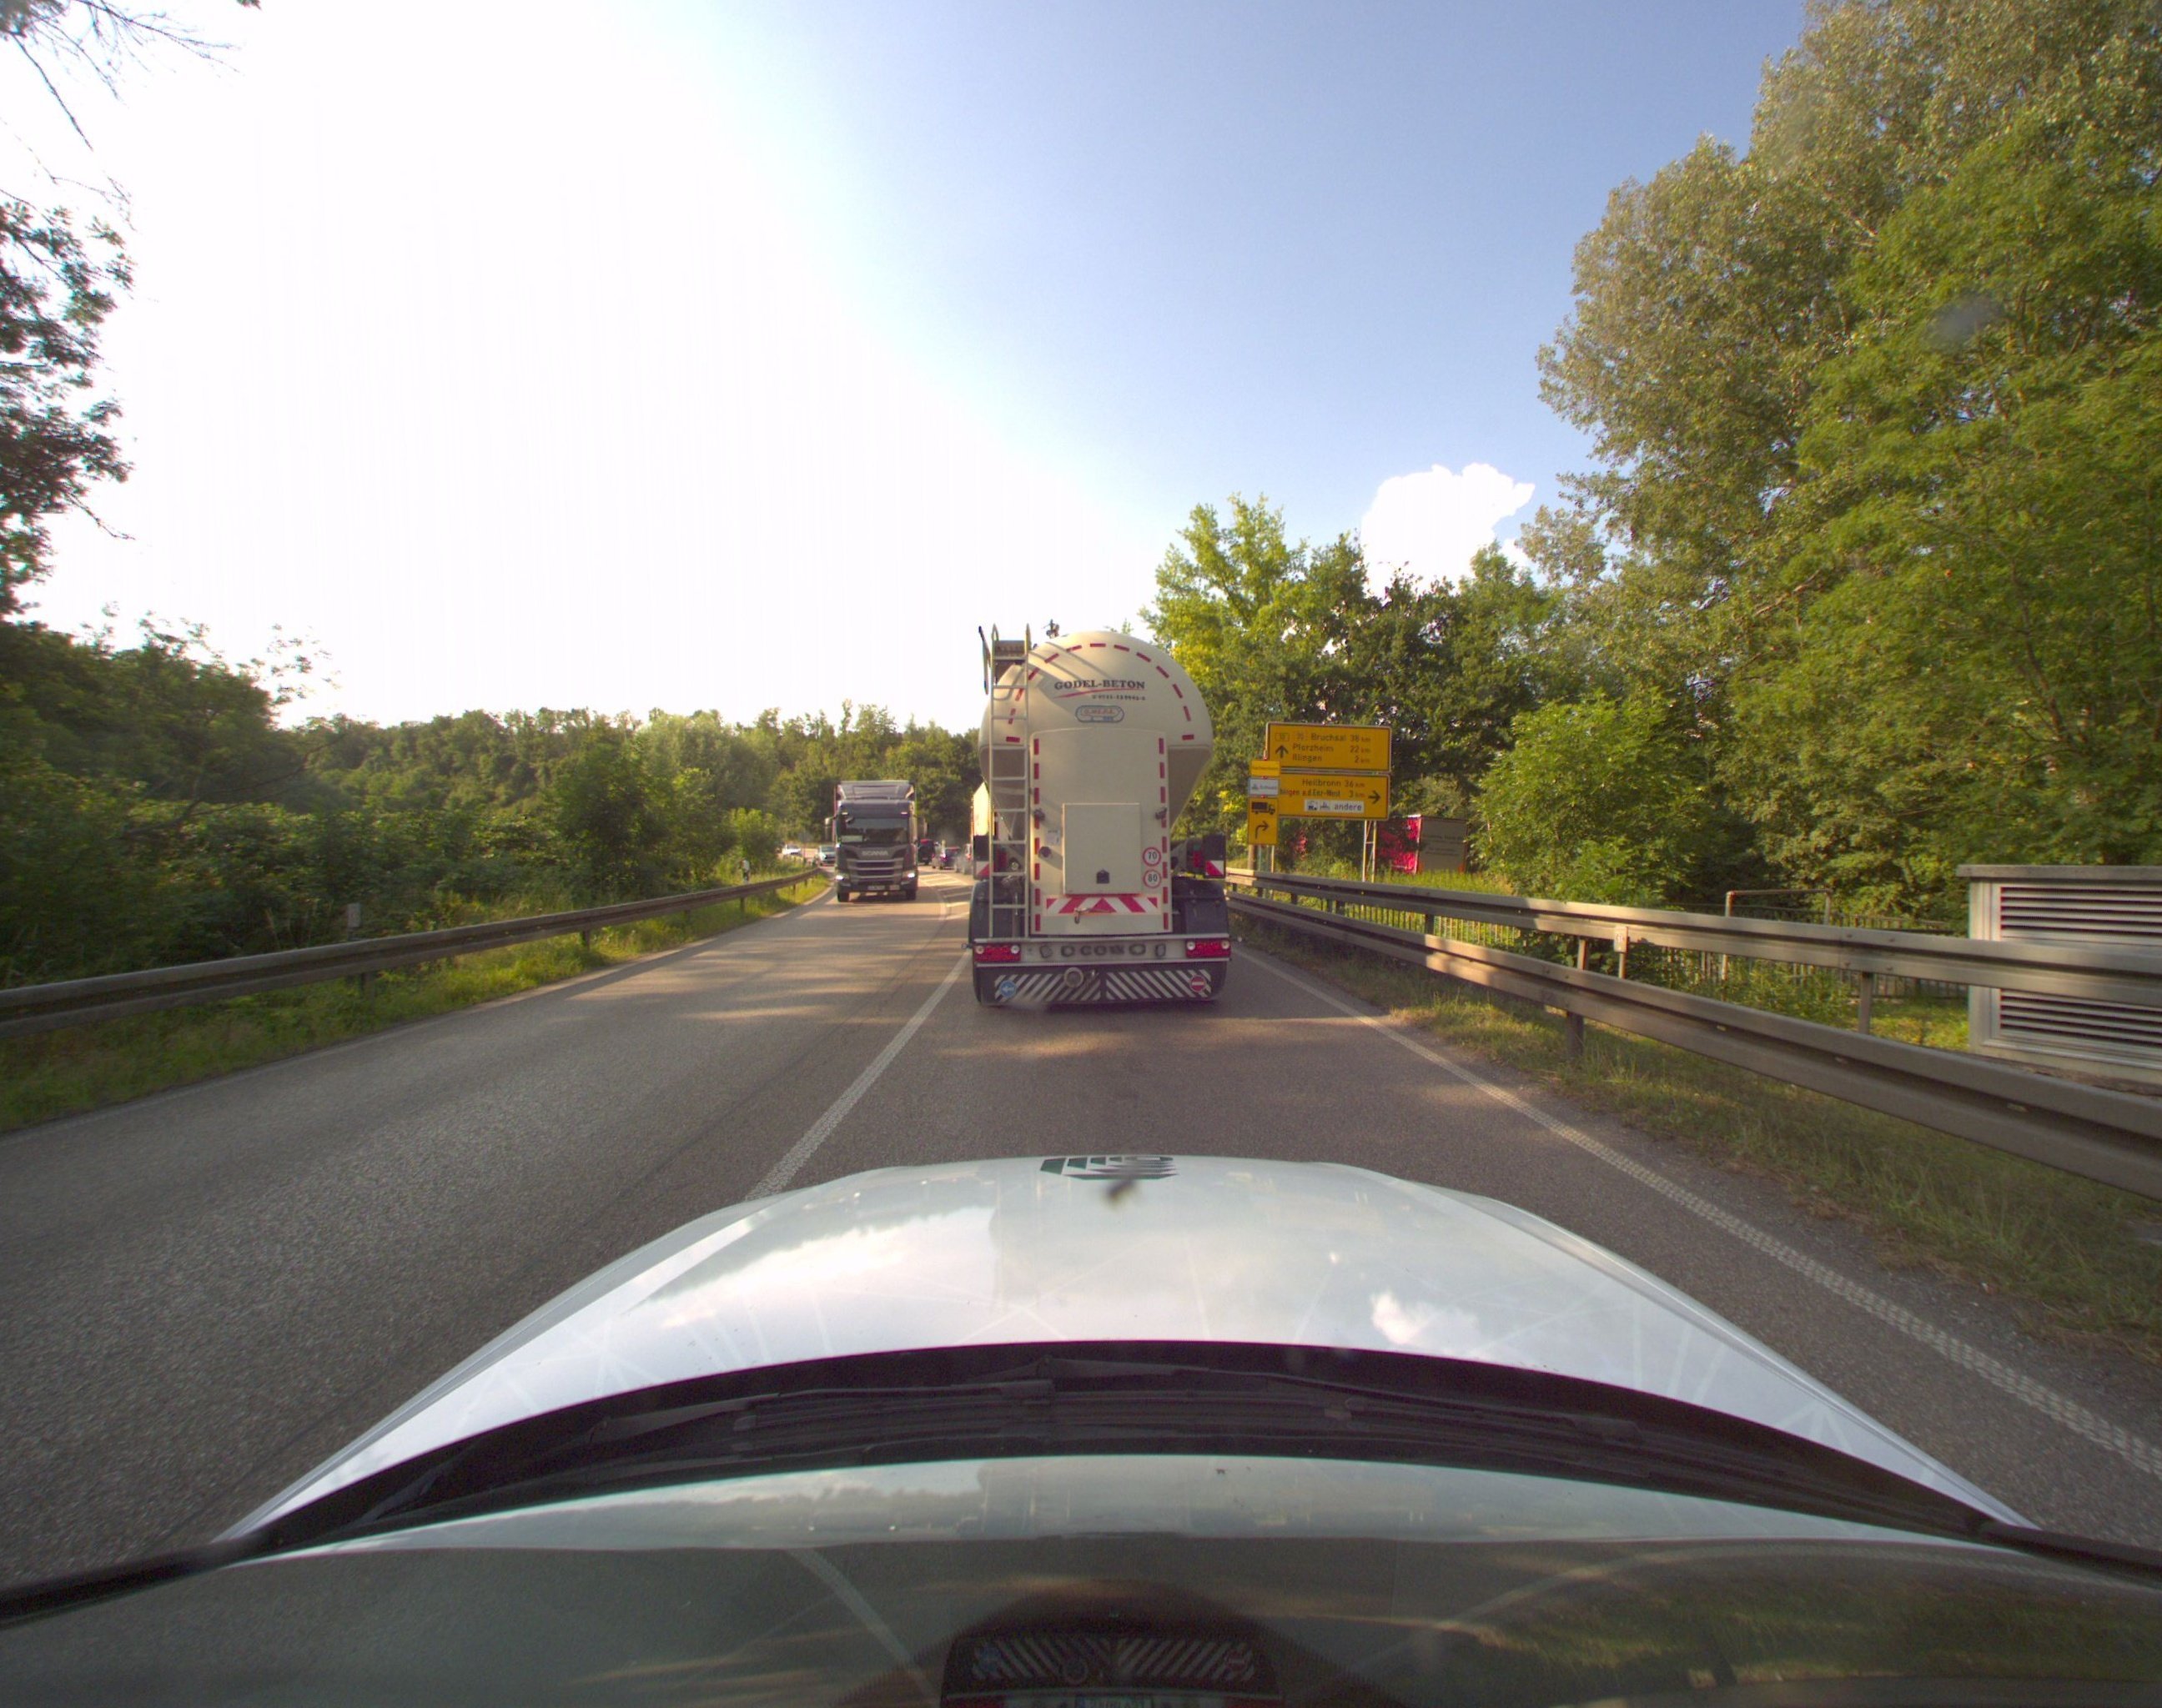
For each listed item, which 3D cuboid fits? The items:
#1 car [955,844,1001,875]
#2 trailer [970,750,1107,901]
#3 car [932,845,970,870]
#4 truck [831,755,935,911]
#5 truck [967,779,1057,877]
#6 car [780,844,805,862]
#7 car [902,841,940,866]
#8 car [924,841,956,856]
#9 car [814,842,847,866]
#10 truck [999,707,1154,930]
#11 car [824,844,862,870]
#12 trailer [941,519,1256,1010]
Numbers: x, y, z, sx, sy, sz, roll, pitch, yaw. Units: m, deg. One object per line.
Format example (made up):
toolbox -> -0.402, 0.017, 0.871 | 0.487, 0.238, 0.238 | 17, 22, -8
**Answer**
car -> -5.912, 0.279, 46.249 | 1.873, 1.628, 3.976 | -2, 1, -18
trailer -> -2.116, -0.833, 31.089 | 3.546, 4.513, 12.936 | 1, 0, -10
car -> -8.664, 0.222, 54.091 | 1.873, 1.564, 3.975 | -2, 1, -18
truck -> -7.247, -0.597, 29.311 | 3.018, 4.585, 10.187 | 0, 0, -15
truck -> -3.330, -1.129, 37.675 | 3.452, 4.086, 6.466 | 0, 1, -11
car -> -29.902, -0.130, 84.314 | 1.878, 1.851, 3.965 | 2, 0, -27
car -> -12.396, -0.071, 62.969 | 1.966, 1.851, 3.968 | -2, 1, -24
car -> -20.233, -0.729, 116.726 | 4.020, 2.014, 1.977 | 2, 0, -41
car -> -20.099, -0.038, 65.158 | 1.877, 1.851, 3.966 | 2, 0, -27
truck -> -0.304, -0.654, 17.807 | 2.819, 4.035, 5.884 | 0, 0, -5
car -> -15.242, 0.168, 52.110 | 1.875, 1.556, 3.970 | 2, 0, -22
trailer -> -0.009, -0.821, 12.266 | 2.879, 4.454, 9.597 | 0, 0, -2
